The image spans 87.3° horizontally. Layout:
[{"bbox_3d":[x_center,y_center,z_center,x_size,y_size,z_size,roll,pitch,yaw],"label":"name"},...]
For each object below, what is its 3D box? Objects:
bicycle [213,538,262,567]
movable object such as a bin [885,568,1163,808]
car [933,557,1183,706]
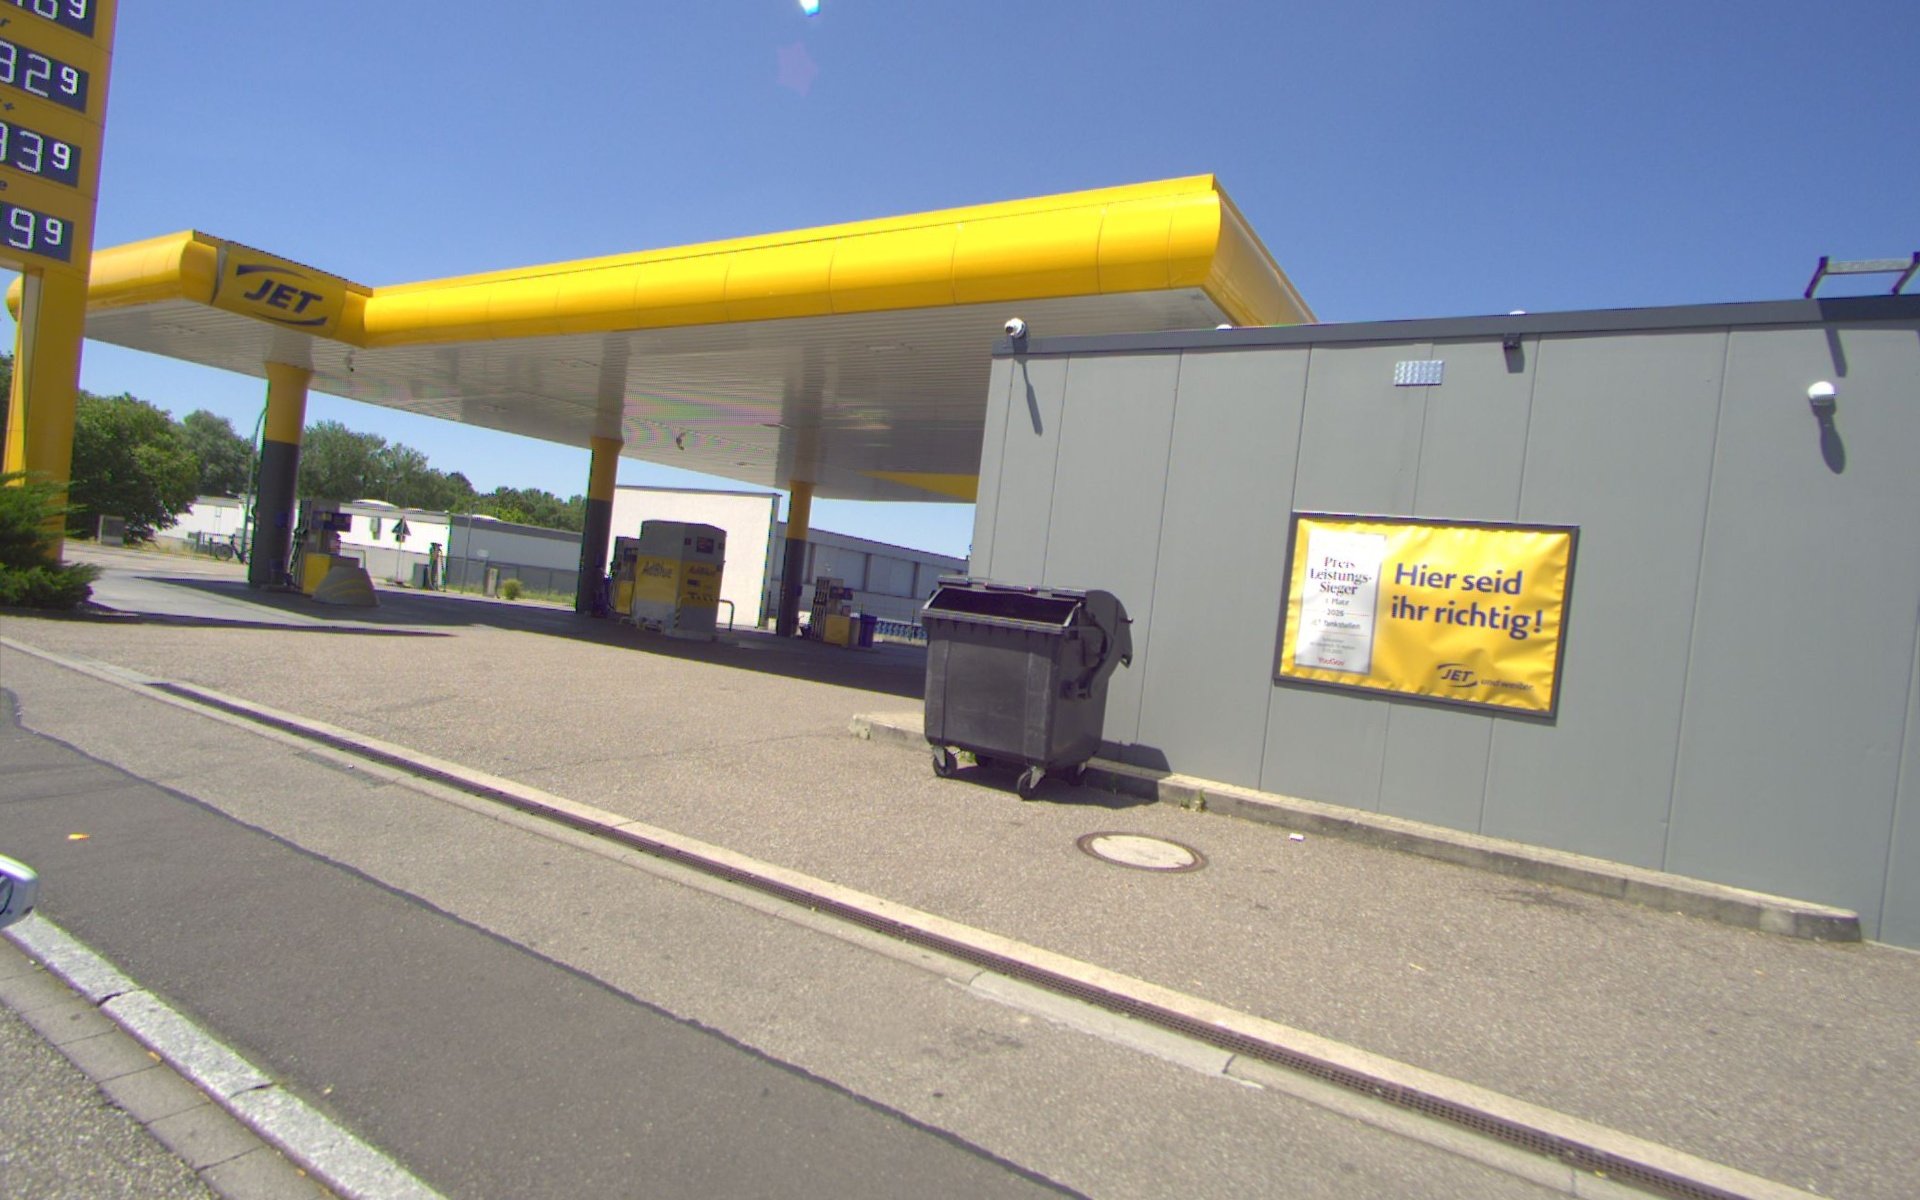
[{"bbox_3d":[-33.273,-2.168,46.344,0.461,1.110,1.694,6,-2,37],"label":"bicycle"},{"bbox_3d":[0.507,0.598,7.518,1.443,1.456,1.435,7,1,32],"label":"movable object such as a bin"},{"bbox_3d":[1.850,0.634,16.999,1.967,1.999,5.057,7,-1,32],"label":"car"}]
